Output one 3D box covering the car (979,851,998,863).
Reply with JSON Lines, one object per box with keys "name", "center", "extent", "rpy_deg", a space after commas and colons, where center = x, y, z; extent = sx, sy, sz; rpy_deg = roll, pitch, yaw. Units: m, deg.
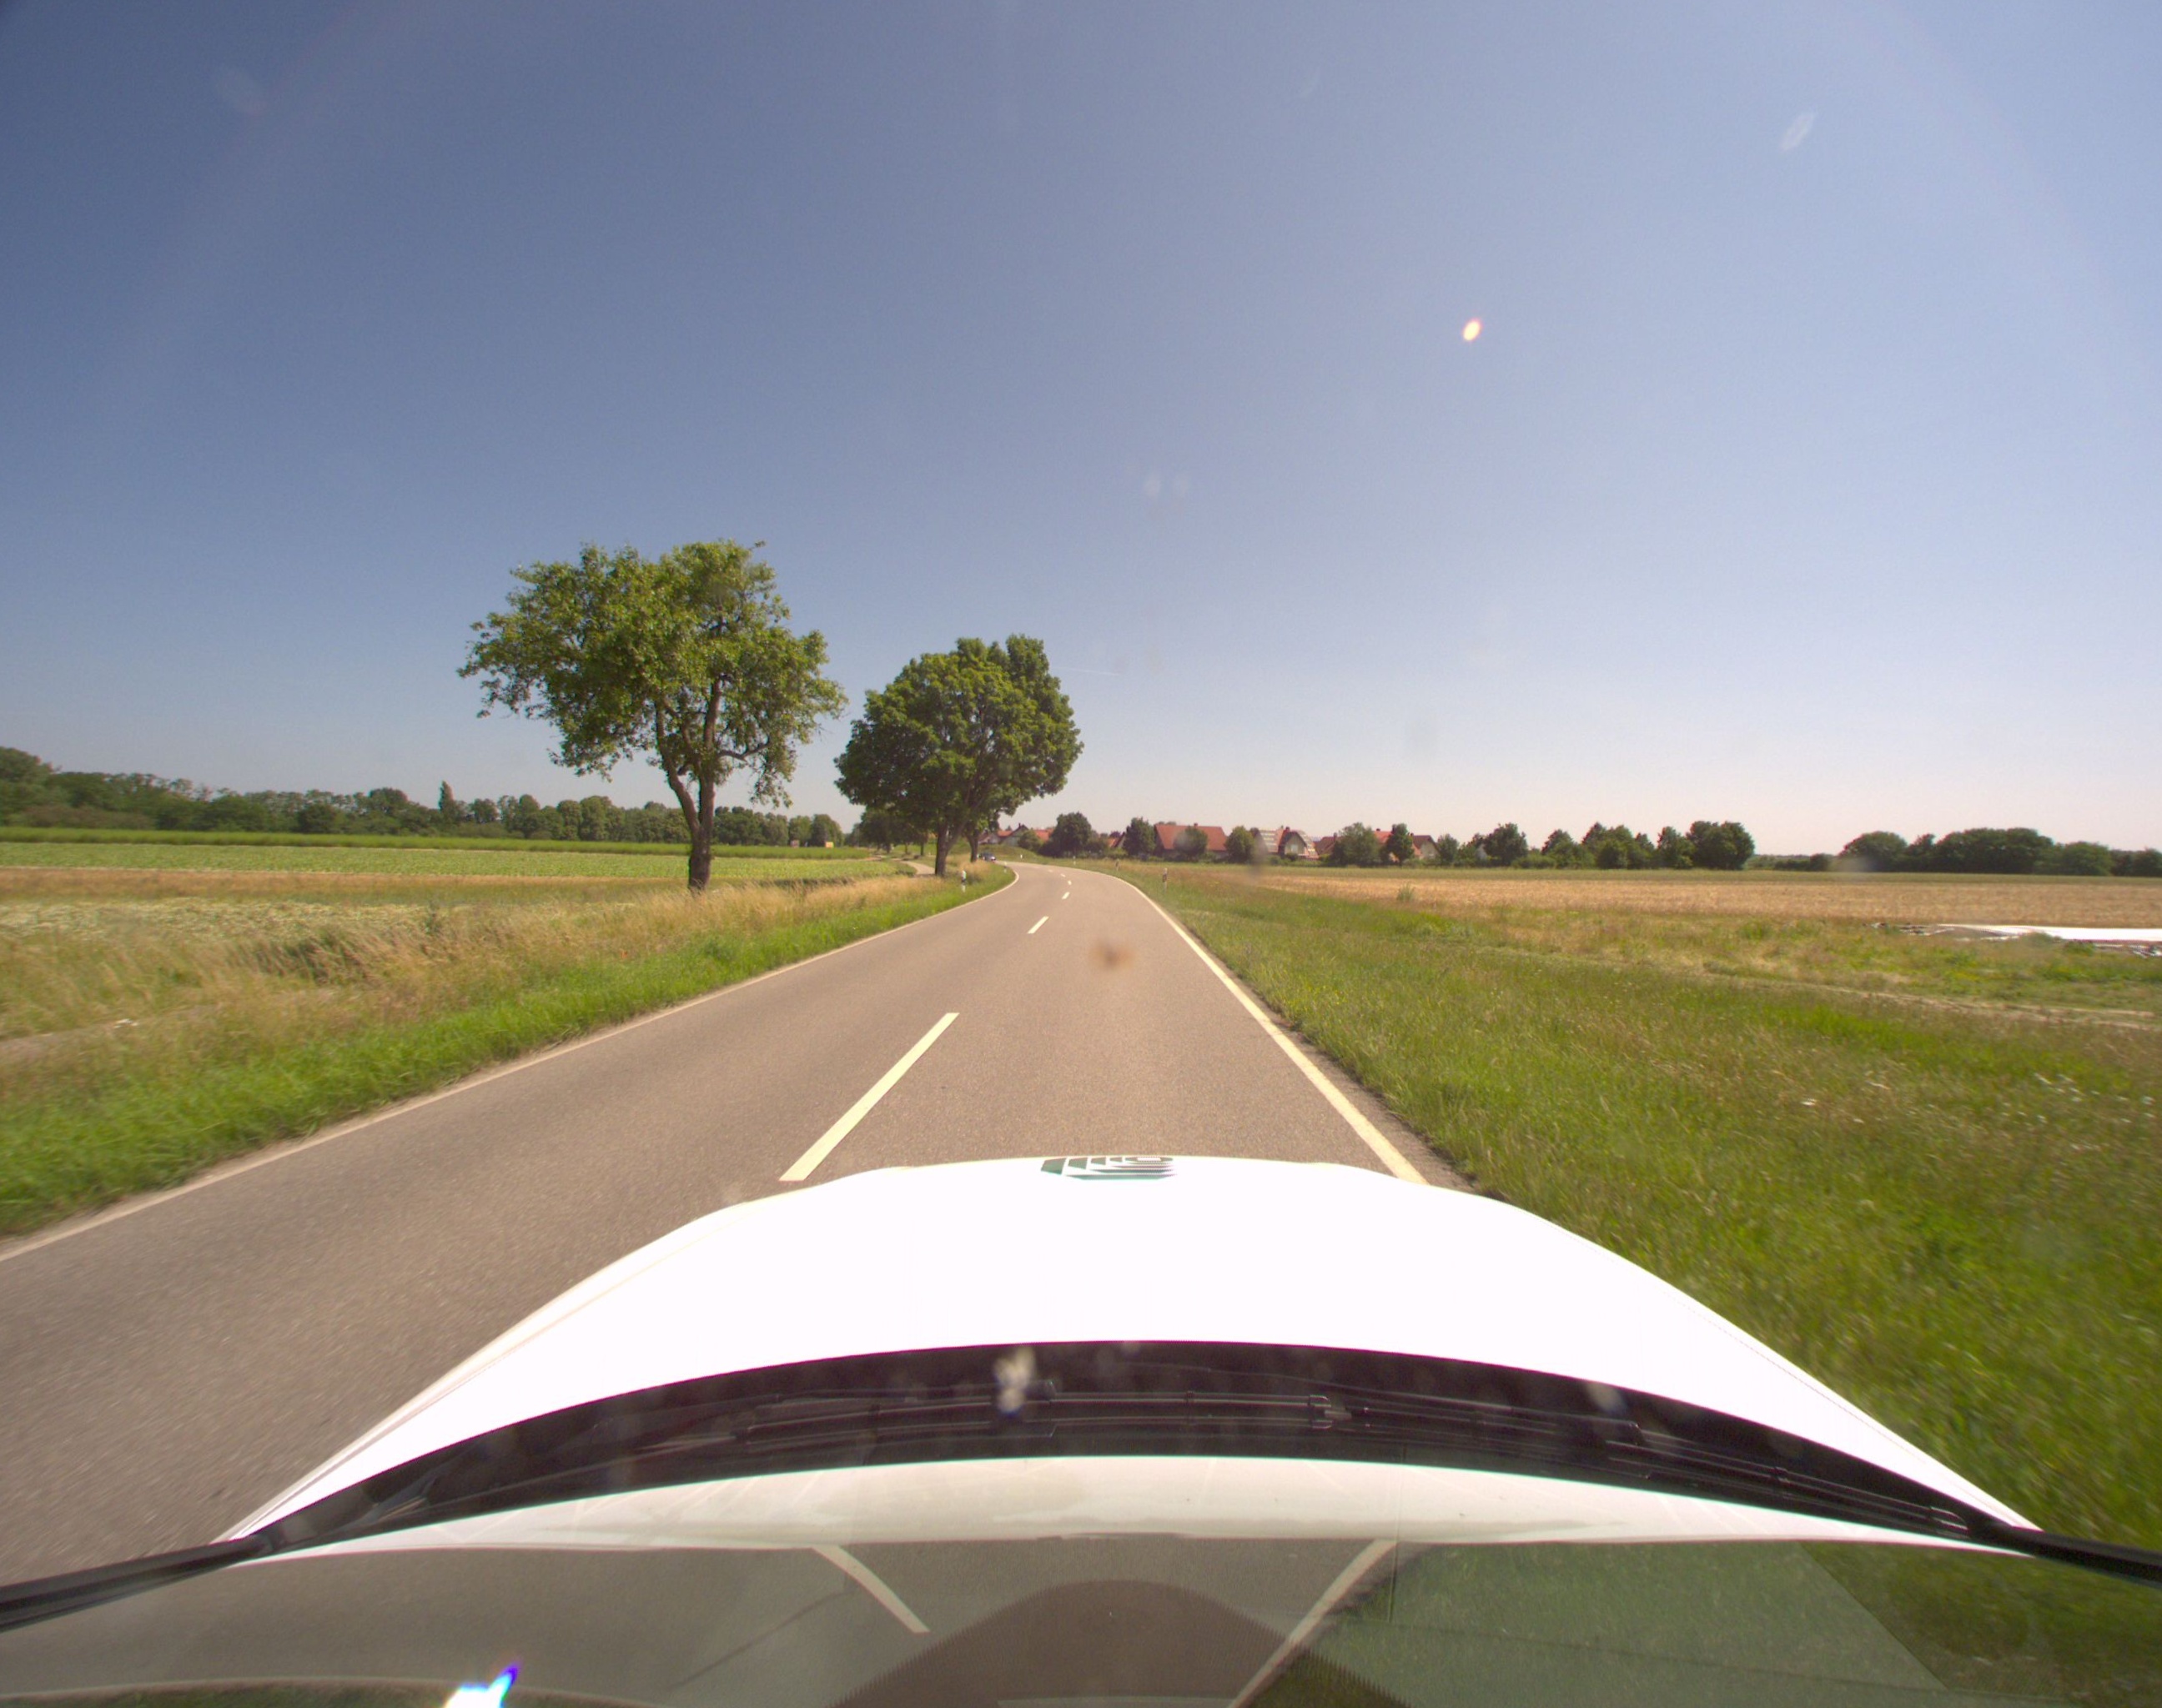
{"name": "car", "center": [-12.214, 0.423, 106.885], "extent": [1.648, 1.429, 4.155], "rpy_deg": [-2, 0, -18]}
